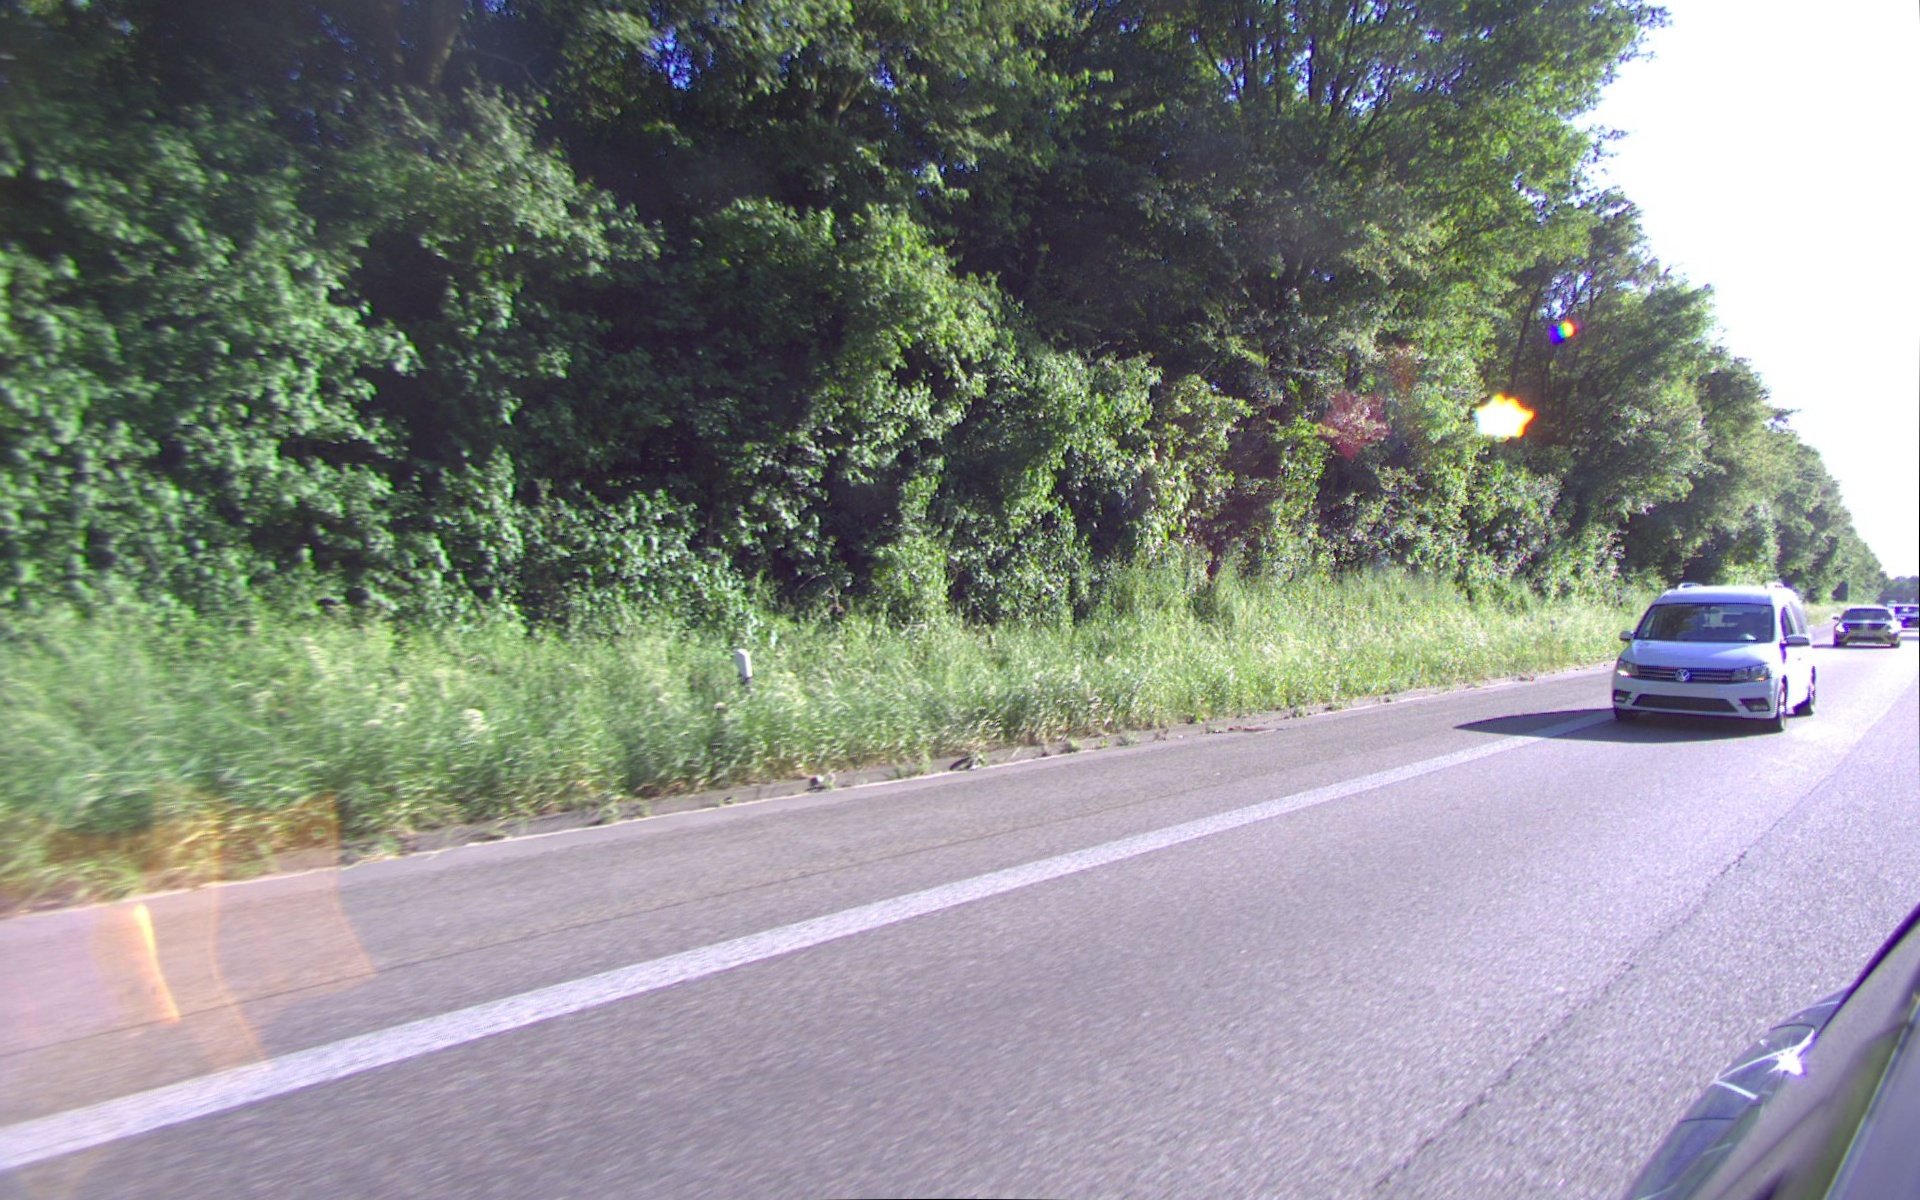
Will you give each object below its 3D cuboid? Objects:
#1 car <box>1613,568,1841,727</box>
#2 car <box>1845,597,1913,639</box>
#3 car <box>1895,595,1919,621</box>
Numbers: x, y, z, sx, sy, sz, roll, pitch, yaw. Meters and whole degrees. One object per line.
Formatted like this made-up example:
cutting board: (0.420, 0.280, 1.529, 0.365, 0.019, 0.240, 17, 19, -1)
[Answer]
car: (10.601, 0.523, 13.856, 4.511, 1.836, 1.800, -1, 0, -44)
car: (33.905, 0.633, 37.373, 1.789, 1.467, 3.818, 0, 0, 42)
car: (57.079, 0.467, 60.444, 1.789, 1.467, 3.818, 0, 0, 42)
